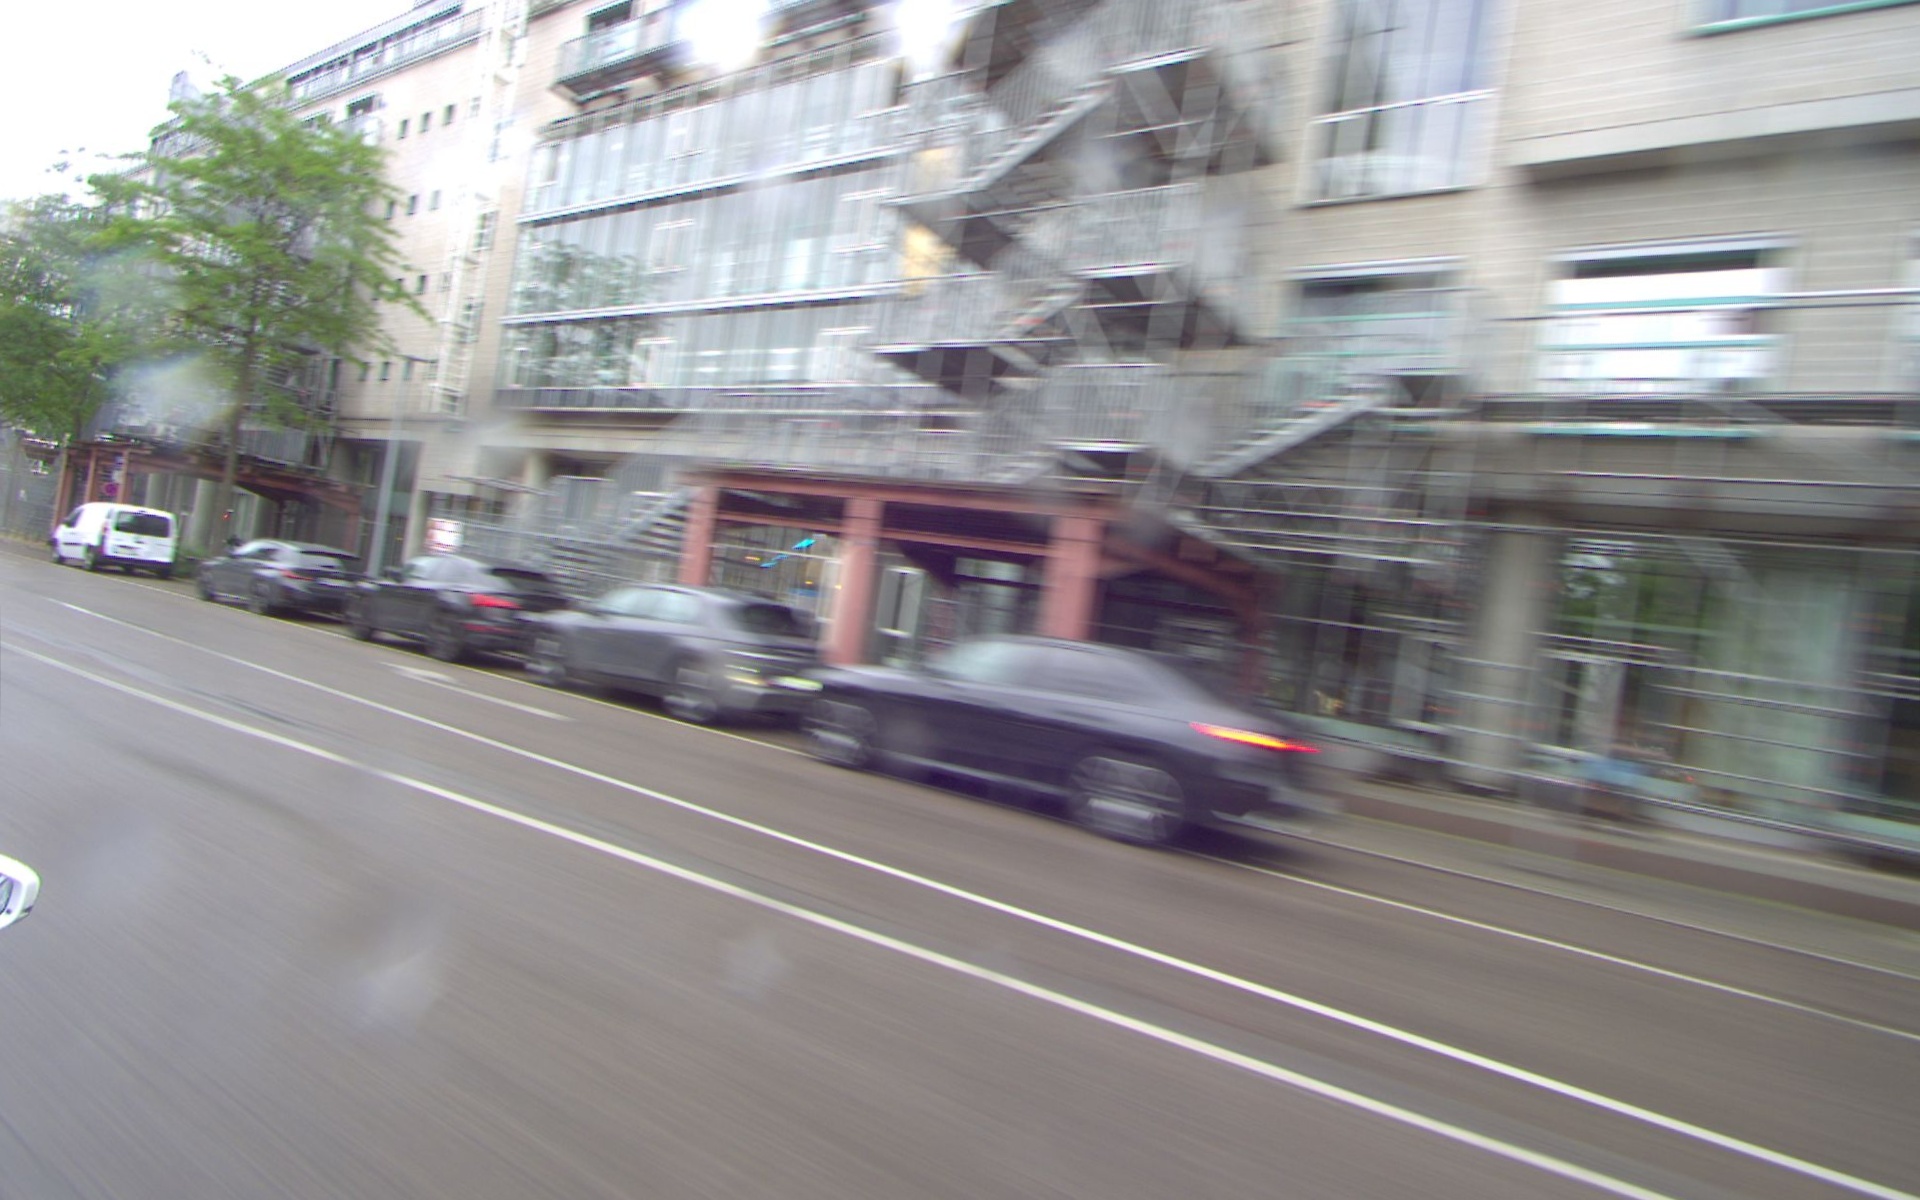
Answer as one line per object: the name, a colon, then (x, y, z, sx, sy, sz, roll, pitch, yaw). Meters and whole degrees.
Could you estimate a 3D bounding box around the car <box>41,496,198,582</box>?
car: (-22.760, -1.667, 27.199, 4.454, 1.770, 1.996, 7, -2, 34)

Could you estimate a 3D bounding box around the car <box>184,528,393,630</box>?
car: (-13.581, -0.458, 20.242, 4.845, 1.454, 1.870, 7, -1, 36)

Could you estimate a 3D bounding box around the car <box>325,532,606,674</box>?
car: (-8.137, 0.010, 16.379, 4.787, 1.665, 1.995, 7, -1, 36)

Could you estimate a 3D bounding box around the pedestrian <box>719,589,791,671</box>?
pedestrian: (-4.493, 0.664, 22.110, 1.094, 1.614, 0.820, 7, -1, 30)

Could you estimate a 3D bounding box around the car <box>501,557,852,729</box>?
car: (-3.842, 0.520, 13.331, 4.519, 1.619, 1.864, 7, -1, 34)

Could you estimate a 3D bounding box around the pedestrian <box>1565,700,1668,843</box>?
pedestrian: (8.369, 2.160, 12.862, 0.908, 1.614, 0.705, 7, -1, 32)

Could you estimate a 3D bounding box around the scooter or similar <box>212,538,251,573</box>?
scooter or similar: (-28.108, -1.736, 38.816, 1.523, 1.175, 0.632, 7, -1, 34)

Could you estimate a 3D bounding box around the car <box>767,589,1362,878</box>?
car: (0.754, 1.035, 9.533, 5.209, 1.619, 1.994, 7, -1, 38)
